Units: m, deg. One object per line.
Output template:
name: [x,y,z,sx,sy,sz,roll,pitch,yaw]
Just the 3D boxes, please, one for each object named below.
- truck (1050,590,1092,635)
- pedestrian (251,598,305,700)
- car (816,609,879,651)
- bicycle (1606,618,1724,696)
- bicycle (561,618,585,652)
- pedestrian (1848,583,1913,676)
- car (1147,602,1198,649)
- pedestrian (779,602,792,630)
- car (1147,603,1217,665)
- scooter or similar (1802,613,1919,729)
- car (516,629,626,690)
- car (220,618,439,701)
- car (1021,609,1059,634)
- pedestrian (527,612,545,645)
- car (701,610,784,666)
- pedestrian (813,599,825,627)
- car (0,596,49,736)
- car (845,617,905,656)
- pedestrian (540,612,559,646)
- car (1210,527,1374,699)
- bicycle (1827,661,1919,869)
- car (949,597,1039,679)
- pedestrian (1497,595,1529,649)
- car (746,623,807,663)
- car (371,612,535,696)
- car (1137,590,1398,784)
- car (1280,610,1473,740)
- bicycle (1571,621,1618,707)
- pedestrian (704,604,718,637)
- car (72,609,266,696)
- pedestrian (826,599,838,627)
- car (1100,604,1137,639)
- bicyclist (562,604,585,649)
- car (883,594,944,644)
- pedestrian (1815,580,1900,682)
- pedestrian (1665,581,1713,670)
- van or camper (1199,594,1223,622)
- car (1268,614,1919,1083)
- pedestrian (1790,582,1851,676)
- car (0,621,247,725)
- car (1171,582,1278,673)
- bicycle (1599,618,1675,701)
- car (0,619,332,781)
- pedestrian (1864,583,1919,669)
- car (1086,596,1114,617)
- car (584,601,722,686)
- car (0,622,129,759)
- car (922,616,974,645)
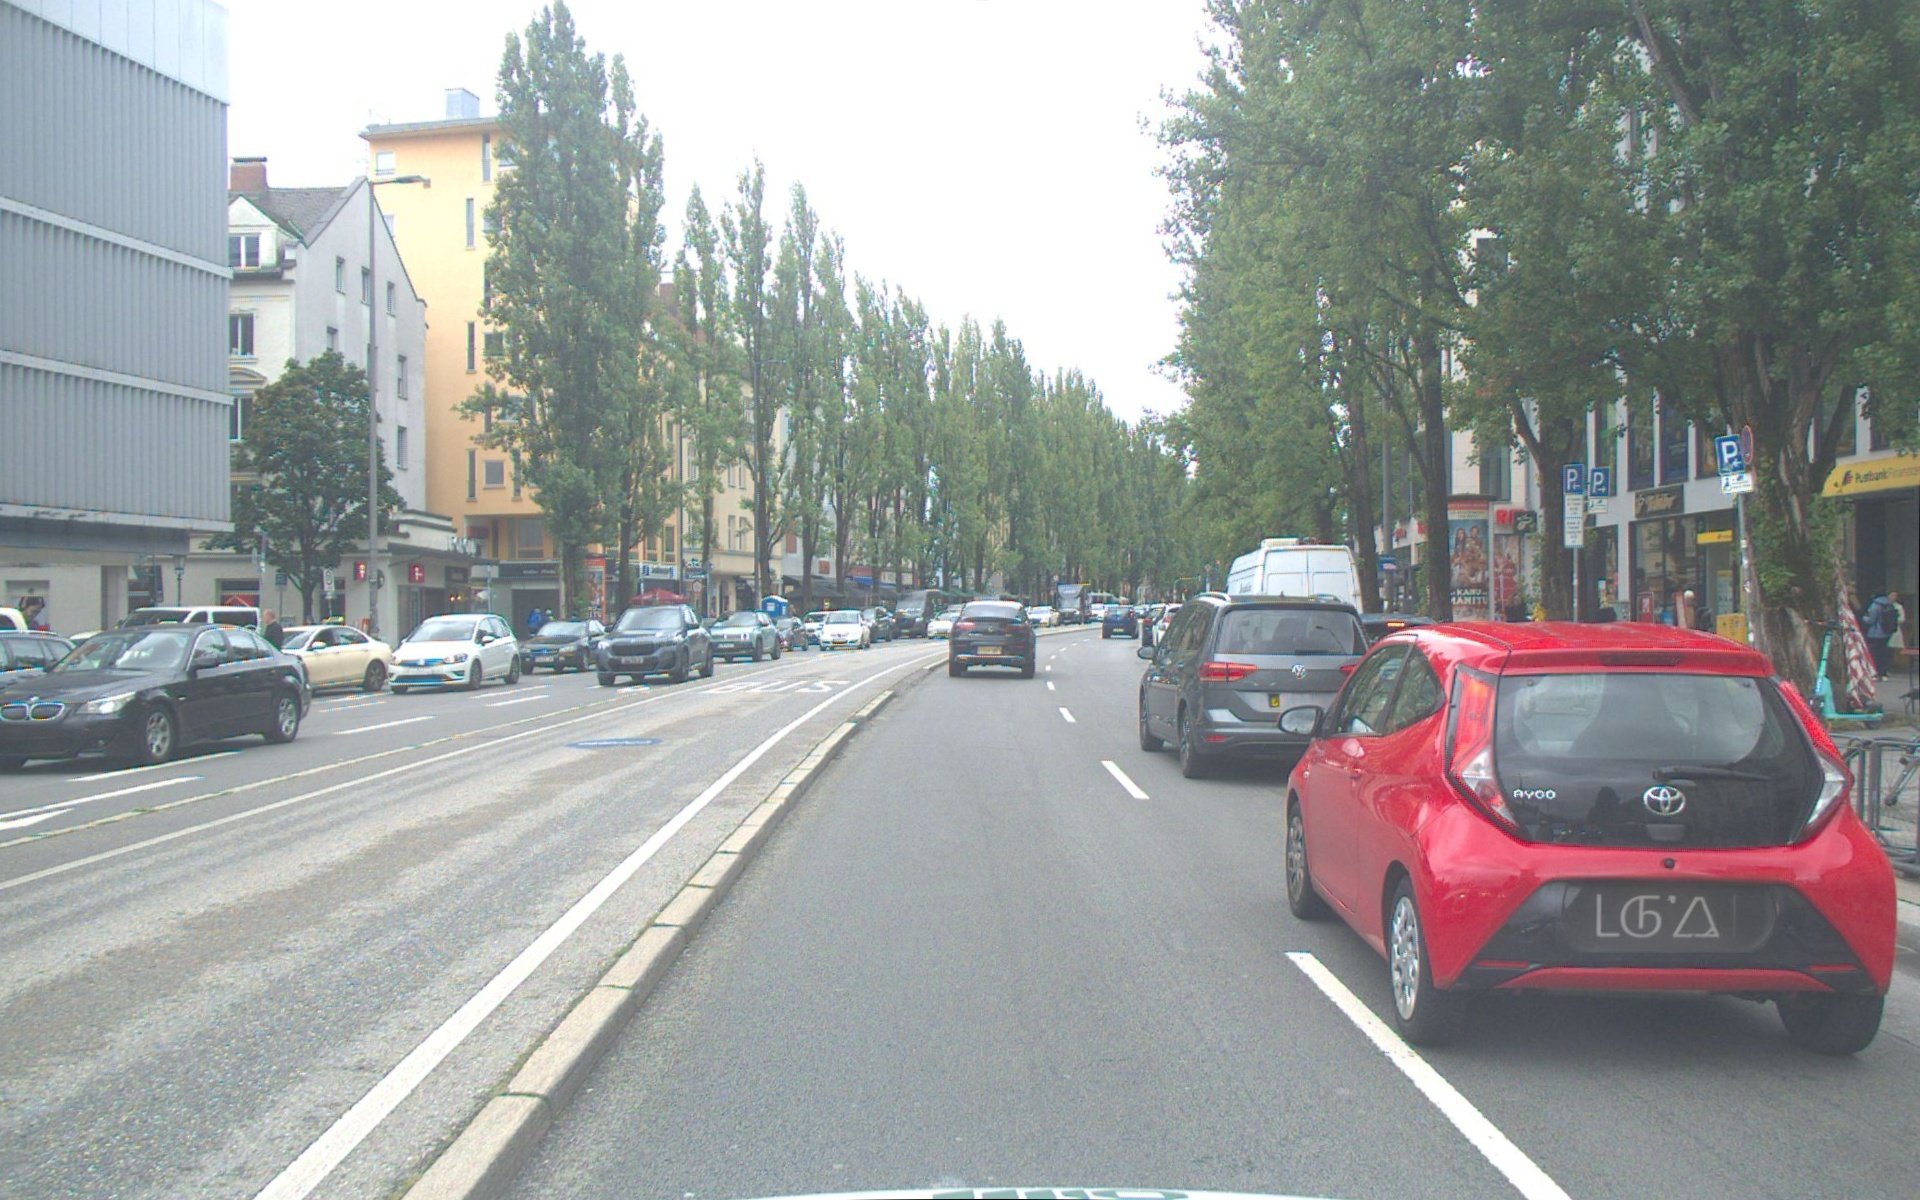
truck: [8.809,0.974,130.514,2.242,3.381,7.163,-2,-1,12]
pedestrian: [-13.092,0.929,31.765,0.772,1.900,0.844,-1,0,-10]
car: [-4.608,1.217,68.489,1.912,1.617,4.003,-1,0,6]
bicycle: [11.027,0.883,25.928,1.593,1.180,0.705,0,0,13]
bicycle: [-14.122,1.284,60.435,0.360,1.222,1.154,-1,0,13]
pedestrian: [16.321,0.523,29.335,0.677,1.613,0.773,-1,0,-1]
car: [8.284,0.976,64.182,1.884,1.730,4.653,1,-1,8]
pedestrian: [-11.022,1.029,104.493,0.624,1.729,0.648,-1,0,12]
car: [6.429,0.958,48.223,1.691,1.716,4.410,0,0,3]
scooter or similar: [10.174,0.782,18.528,1.442,1.228,0.398,-1,-1,-19]
car: [-10.369,1.551,44.403,1.693,1.433,4.688,-1,0,2]
car: [-13.334,1.219,35.351,1.817,1.495,4.986,-3,-1,13]
car: [5.678,1.469,116.704,1.951,1.616,5.200,-3,-1,10]
pedestrian: [-18.906,1.281,73.730,0.619,1.460,0.778,-1,0,-1]
car: [-6.641,1.134,50.847,1.779,1.572,4.001,-3,0,3]
pedestrian: [-9.578,0.903,112.615,0.624,1.894,0.648,-1,0,12]
car: [-15.171,0.991,22.890,1.952,2.049,5.323,-2,-1,2]
car: [-4.075,1.757,80.345,1.975,1.746,4.986,-1,0,8]
pedestrian: [-18.299,1.288,73.706,0.619,1.460,0.778,-1,0,-1]
car: [5.855,0.252,29.831,1.952,2.790,5.555,1,-1,1]
bicycle: [5.584,0.926,8.873,1.546,1.072,0.544,4,1,38]
car: [0.806,0.806,36.656,1.841,1.670,4.584,-1,0,3]
pedestrian: [16.477,0.660,49.303,0.555,1.604,0.672,-1,-1,-23]
car: [-7.547,1.756,68.466,1.746,1.491,4.002,-2,0,5]
car: [-10.796,1.108,35.538,1.952,1.628,4.291,-1,0,3]
car: [2.826,0.746,16.082,1.725,1.642,4.183,0,0,-1]
car: [5.311,0.889,21.566,1.689,1.479,4.149,1,0,4]
bicycle: [9.244,0.906,24.124,0.467,1.180,1.826,0,0,16]
pedestrian: [-13.686,1.132,90.904,0.527,1.777,0.756,0,0,12]
car: [-20.234,1.279,42.610,1.951,2.049,5.116,-1,0,8]
pedestrian: [-8.714,0.909,112.594,0.624,1.894,0.648,-1,0,12]
car: [7.920,1.076,82.376,1.722,1.648,3.749,1,-1,7]
bicyclist: [-14.126,0.950,60.440,0.491,1.620,0.835,-1,0,12]
car: [-2.555,1.051,92.979,2.123,2.651,6.069,-1,0,11]
pedestrian: [15.033,0.506,27.720,0.784,1.665,1.022,-1,0,-7]
pedestrian: [14.743,0.513,33.451,0.707,1.755,0.737,-2,-1,37]
van or camper: [23.773,0.747,156.380,1.991,2.519,4.003,-1,-2,12]
car: [2.429,0.818,7.083,1.630,1.471,3.596,1,-1,1]
pedestrian: [15.690,0.528,30.171,0.677,1.678,0.798,-1,0,-1]
car: [-14.773,1.197,28.811,1.935,1.579,5.090,-1,0,8]
car: [5.718,0.575,36.227,1.888,1.836,4.782,1,0,4]
bicycle: [10.127,0.877,24.790,0.467,1.180,1.633,0,0,0]
car: [-8.979,1.017,18.596,1.797,1.513,4.736,-1,0,3]
pedestrian: [17.375,0.487,30.776,0.748,1.562,0.709,-2,-1,9]
car: [12.185,0.531,143.453,1.820,1.741,4.540,-2,0,12]
car: [-6.531,0.884,35.666,1.952,1.649,4.414,-2,0,2]
car: [-12.245,1.105,19.927,1.919,1.573,4.948,-1,0,0]
car: [-0.628,1.598,87.735,1.761,1.419,4.694,-1,0,12]
